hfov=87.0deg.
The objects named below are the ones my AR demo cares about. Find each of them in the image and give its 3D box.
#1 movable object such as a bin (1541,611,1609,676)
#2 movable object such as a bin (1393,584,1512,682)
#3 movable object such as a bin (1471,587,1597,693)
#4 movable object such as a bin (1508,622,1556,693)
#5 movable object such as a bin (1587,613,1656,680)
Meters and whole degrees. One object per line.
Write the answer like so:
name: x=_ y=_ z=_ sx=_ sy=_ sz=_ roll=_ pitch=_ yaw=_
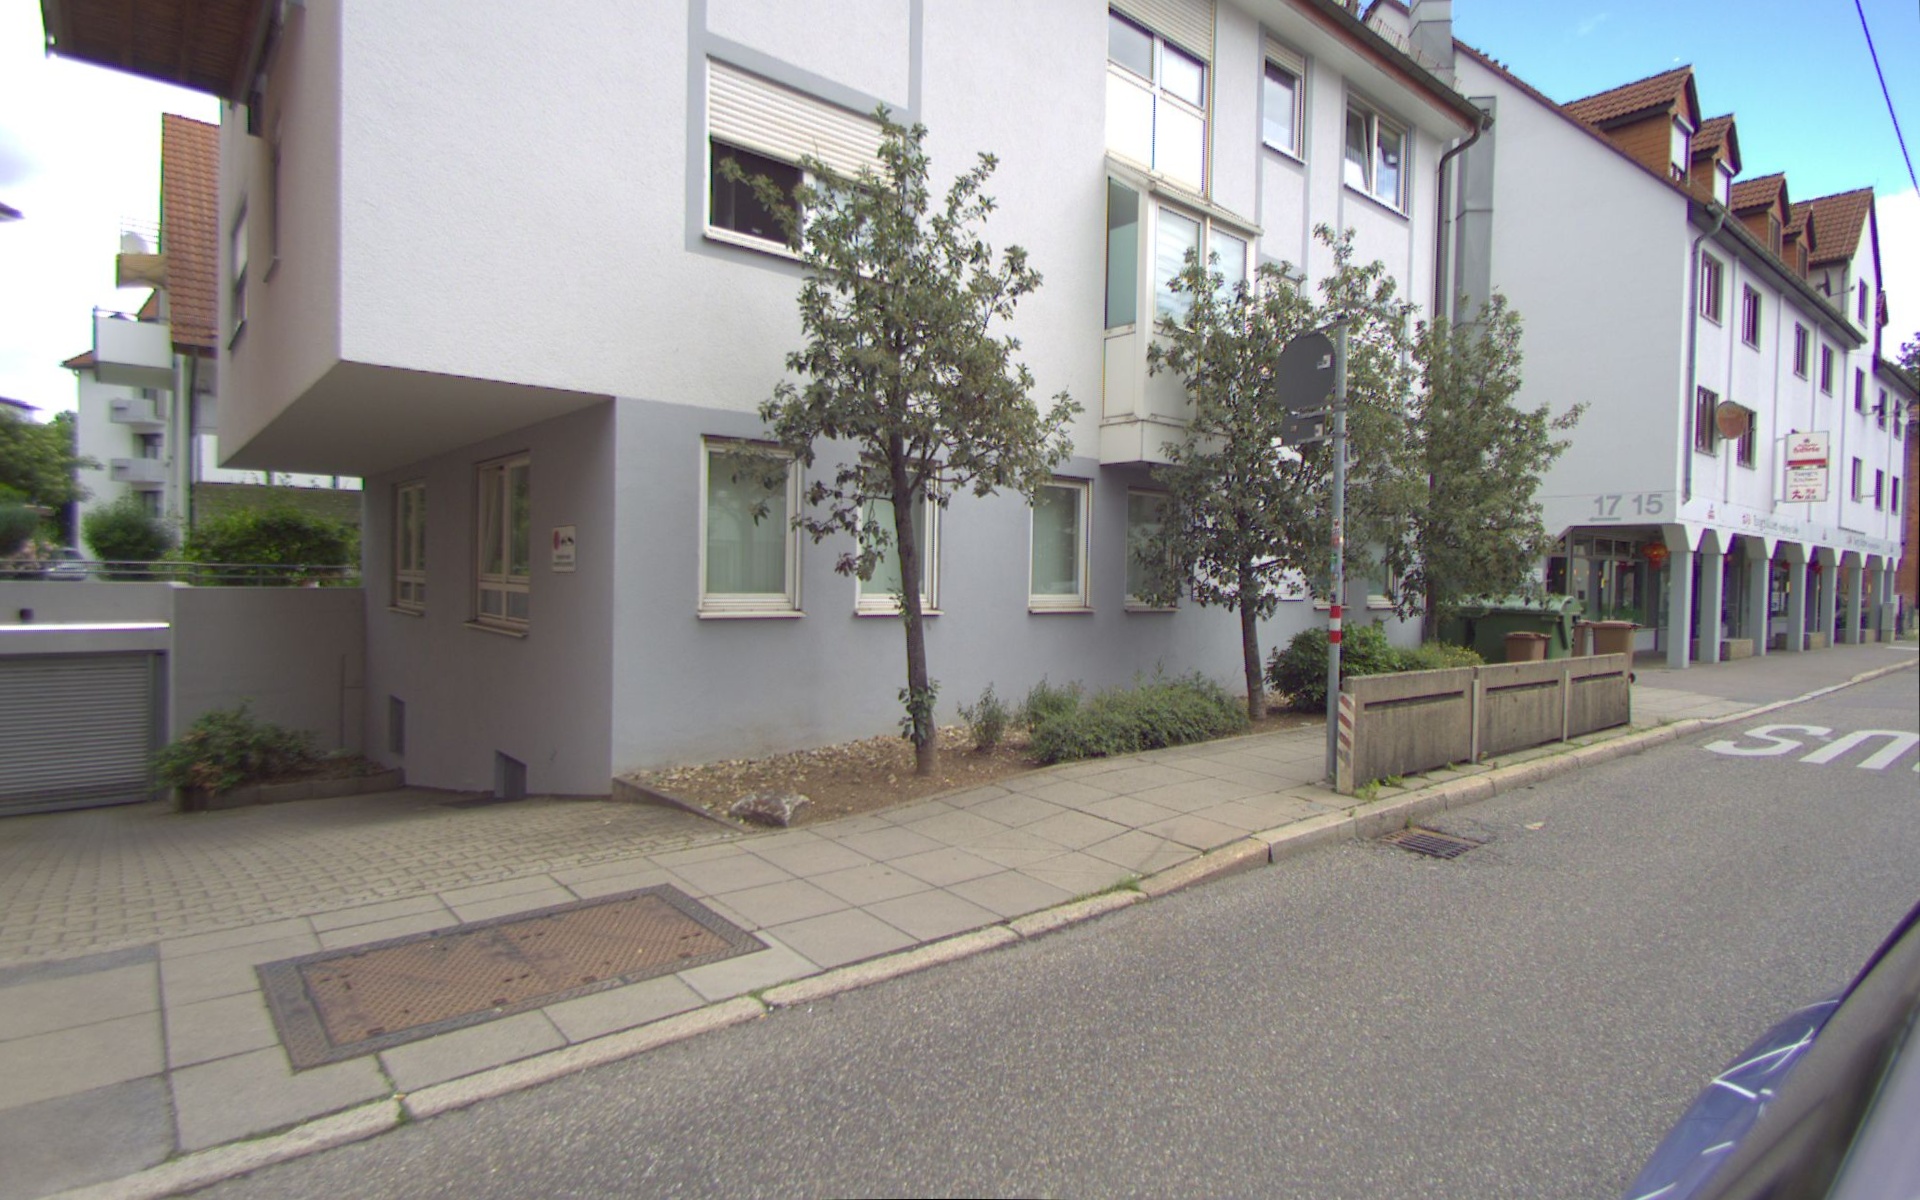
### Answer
movable object such as a bin: x=10.911 y=0.756 z=17.954 sx=0.953 sy=1.092 sz=0.700 roll=0 pitch=1 yaw=-37
movable object such as a bin: x=7.860 y=0.495 z=16.168 sx=1.284 sy=1.453 sz=1.270 roll=0 pitch=1 yaw=-40
movable object such as a bin: x=8.431 y=0.553 z=14.870 sx=1.141 sy=1.435 sz=1.270 roll=0 pitch=1 yaw=-40
movable object such as a bin: x=7.991 y=0.793 z=14.144 sx=0.457 sy=0.932 sz=0.431 roll=1 pitch=1 yaw=-40
movable object such as a bin: x=11.356 y=0.787 z=17.373 sx=0.953 sy=1.080 sz=0.685 roll=0 pitch=1 yaw=-37
